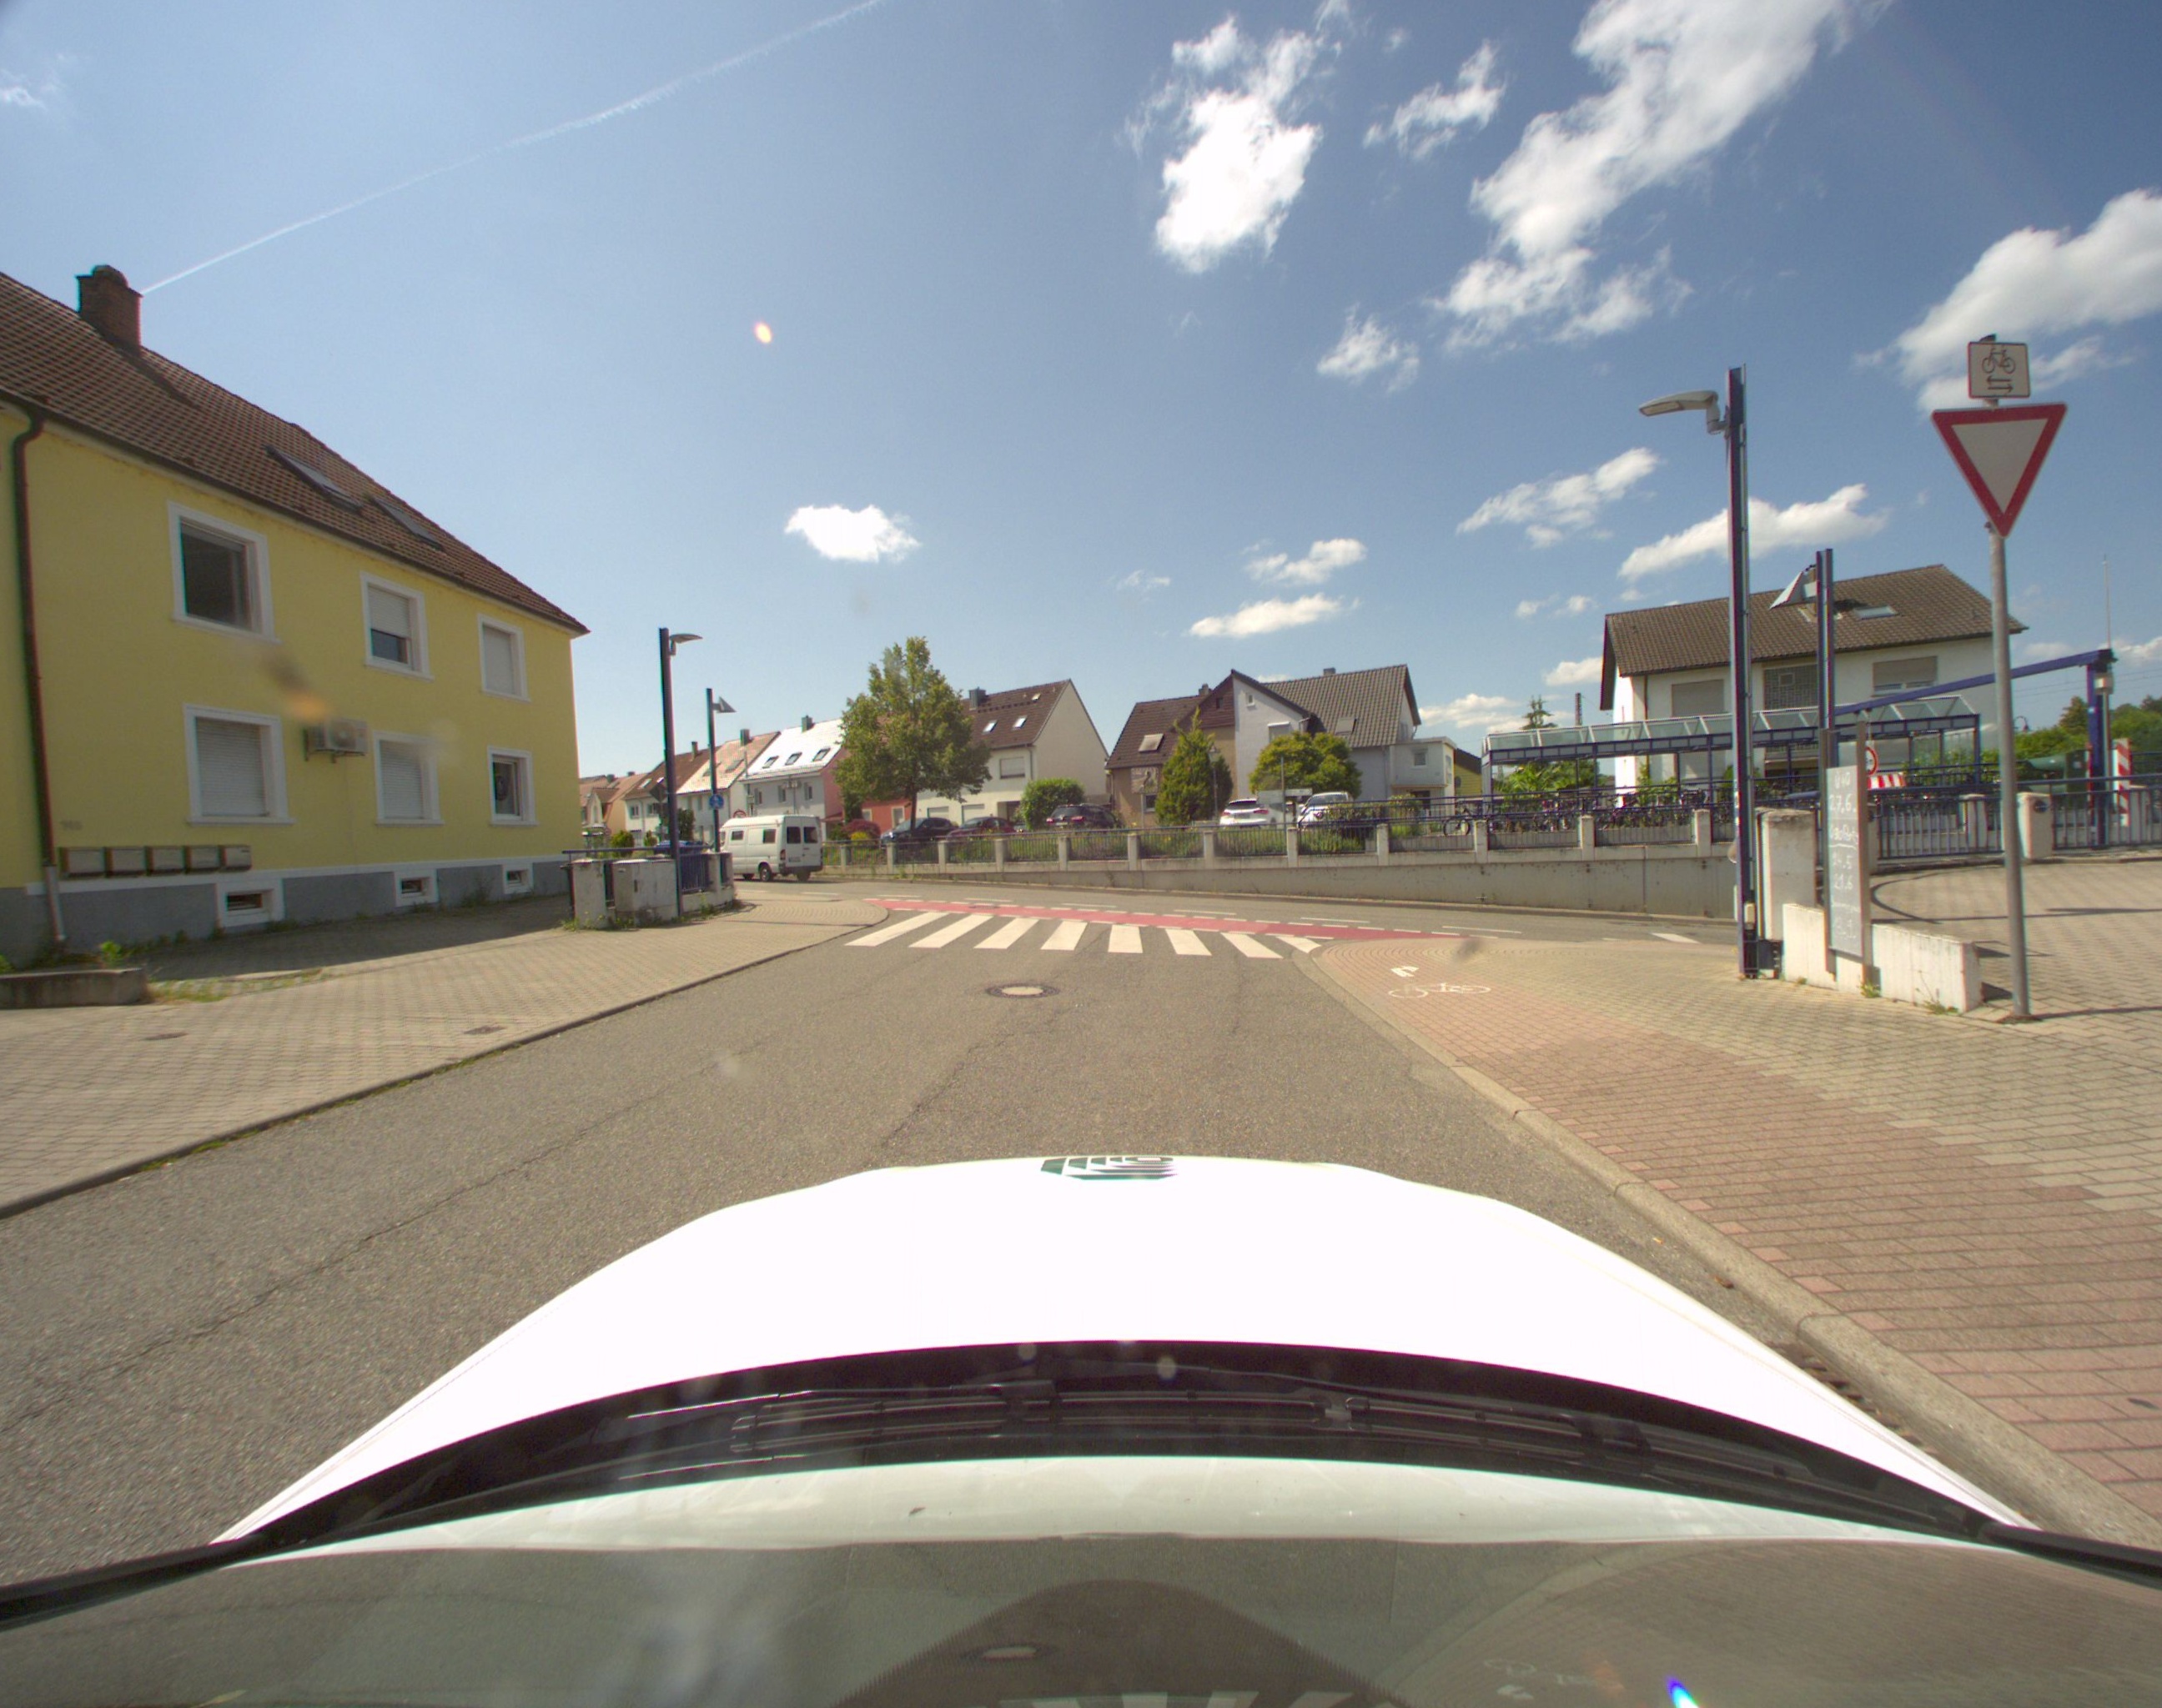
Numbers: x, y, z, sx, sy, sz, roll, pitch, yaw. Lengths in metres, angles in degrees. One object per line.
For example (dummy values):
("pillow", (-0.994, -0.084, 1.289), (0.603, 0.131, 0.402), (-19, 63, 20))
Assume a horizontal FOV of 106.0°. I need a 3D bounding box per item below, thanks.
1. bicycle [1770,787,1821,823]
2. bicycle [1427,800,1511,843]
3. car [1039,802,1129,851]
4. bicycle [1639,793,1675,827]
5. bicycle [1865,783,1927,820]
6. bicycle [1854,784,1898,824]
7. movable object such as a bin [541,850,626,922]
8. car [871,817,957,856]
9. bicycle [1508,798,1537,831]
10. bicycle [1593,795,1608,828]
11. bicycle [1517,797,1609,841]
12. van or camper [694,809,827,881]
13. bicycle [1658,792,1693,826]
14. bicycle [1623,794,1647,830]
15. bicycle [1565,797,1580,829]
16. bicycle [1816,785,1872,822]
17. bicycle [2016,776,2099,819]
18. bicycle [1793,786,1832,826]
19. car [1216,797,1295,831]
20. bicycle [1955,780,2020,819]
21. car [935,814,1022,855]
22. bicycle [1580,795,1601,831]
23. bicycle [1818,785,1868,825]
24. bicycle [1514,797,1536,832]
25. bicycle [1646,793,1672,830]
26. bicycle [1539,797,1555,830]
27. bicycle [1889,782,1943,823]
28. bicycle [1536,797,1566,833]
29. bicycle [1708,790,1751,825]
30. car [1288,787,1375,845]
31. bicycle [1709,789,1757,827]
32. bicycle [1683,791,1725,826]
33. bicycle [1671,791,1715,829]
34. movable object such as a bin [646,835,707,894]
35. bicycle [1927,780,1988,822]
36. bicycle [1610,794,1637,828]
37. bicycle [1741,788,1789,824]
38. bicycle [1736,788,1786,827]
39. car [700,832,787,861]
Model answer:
("bicycle", (20.689, -1.406, 23.618), (0.514, 0.994, 1.977), (-1, 2, 23))
("bicycle", (10.821, -0.888, 22.770), (2.096, 1.125, 0.335), (-1, 2, 22))
("car", (0.196, -1.064, 32.409), (1.850, 1.796, 4.024), (2, 2, 28))
("bicycle", (17.679, -1.350, 25.031), (0.469, 0.994, 1.977), (-1, 2, 23))
("bicycle", (22.878, -1.456, 22.898), (0.514, 0.994, 1.977), (-1, 2, 23))
("bicycle", (21.023, -1.320, 21.559), (0.510, 0.994, 2.052), (-1, 2, 35))
("movable object such as a bin", (-8.902, 0.555, 14.604), (0.881, 1.225, 0.903), (-1, 1, 4))
("car", (-7.458, -0.779, 36.595), (1.850, 1.586, 3.632), (2, 2, 28))
("bicycle", (14.200, -1.269, 26.162), (0.451, 0.994, 1.900), (-1, 2, 39))
("bicycle", (16.319, -1.322, 25.603), (0.369, 0.994, 1.978), (-1, 2, 32))
("bicycle", (12.948, -0.932, 21.927), (2.096, 1.125, 0.394), (-1, 2, 22))
("van or camper", (-12.645, -0.354, 31.991), (5.324, 2.630, 2.017), (1, 0, 31))
("bicycle", (18.109, -1.358, 24.833), (0.410, 0.994, 1.977), (-1, 2, 23))
("bicycle", (15.986, -1.214, 23.532), (0.431, 0.994, 2.296), (-1, 2, 31))
("bicycle", (15.738, -1.318, 26.075), (0.369, 0.994, 1.978), (-1, 2, 32))
("bicycle", (21.848, -1.437, 23.365), (0.514, 0.994, 1.977), (-1, 2, 23))
("bicycle", (24.227, -1.385, 20.253), (0.538, 0.994, 2.051), (-1, 2, 26))
("bicycle", (19.543, -1.278, 21.786), (0.573, 0.994, 2.202), (-1, 2, 36))
("car", (6.211, -1.383, 28.710), (1.808, 1.019, 3.480), (3, 2, 28))
("bicycle", (24.513, -1.451, 22.055), (0.538, 0.994, 2.052), (-1, 2, 29))
("car", (-4.300, -0.822, 34.505), (1.850, 1.586, 3.632), (2, 2, 28))
("bicycle", (14.875, -1.184, 23.757), (0.431, 0.994, 2.116), (-1, 2, 34))
("bicycle", (20.369, -1.305, 21.797), (0.510, 0.994, 2.052), (-1, 2, 30))
("bicycle", (13.444, -1.198, 24.683), (0.329, 0.994, 2.087), (-1, 2, 22))
("bicycle", (16.506, -1.223, 23.277), (0.431, 0.994, 2.296), (-1, 2, 31))
("bicycle", (14.886, -1.288, 26.013), (0.369, 0.994, 1.978), (-1, 2, 32))
("bicycle", (21.633, -1.326, 21.123), (0.510, 0.994, 2.052), (-1, 2, 32))
("bicycle", (13.874, -1.159, 24.010), (0.431, 0.994, 2.116), (-1, 2, 39))
("bicycle", (19.438, -1.390, 24.437), (0.514, 0.994, 1.812), (-1, 2, 23))
("car", (8.539, -1.234, 27.500), (1.975, 1.796, 4.222), (2, 2, 28))
("bicycle", (18.133, -1.259, 22.686), (0.527, 0.994, 2.201), (-1, 2, 25))
("bicycle", (18.774, -1.372, 24.582), (0.514, 0.994, 1.977), (-1, 2, 23))
("bicycle", (17.165, -1.233, 22.888), (0.527, 0.994, 2.295), (-1, 2, 25))
("movable object such as a bin", (-8.891, 0.212, 17.967), (0.840, 1.213, 1.272), (-2, 1, -11))
("bicycle", (22.396, -1.343, 20.843), (0.538, 0.994, 2.052), (-1, 2, 32))
("bicycle", (16.962, -1.340, 25.487), (0.422, 0.994, 1.978), (-1, 2, 26))
("bicycle", (19.987, -1.389, 23.832), (0.514, 0.994, 1.977), (-1, 2, 23))
("bicycle", (18.854, -1.281, 22.625), (0.527, 0.994, 2.201), (-1, 2, 25))
("car", (-18.947, -0.414, 45.900), (1.725, 1.488, 4.284), (3, 2, 34))
